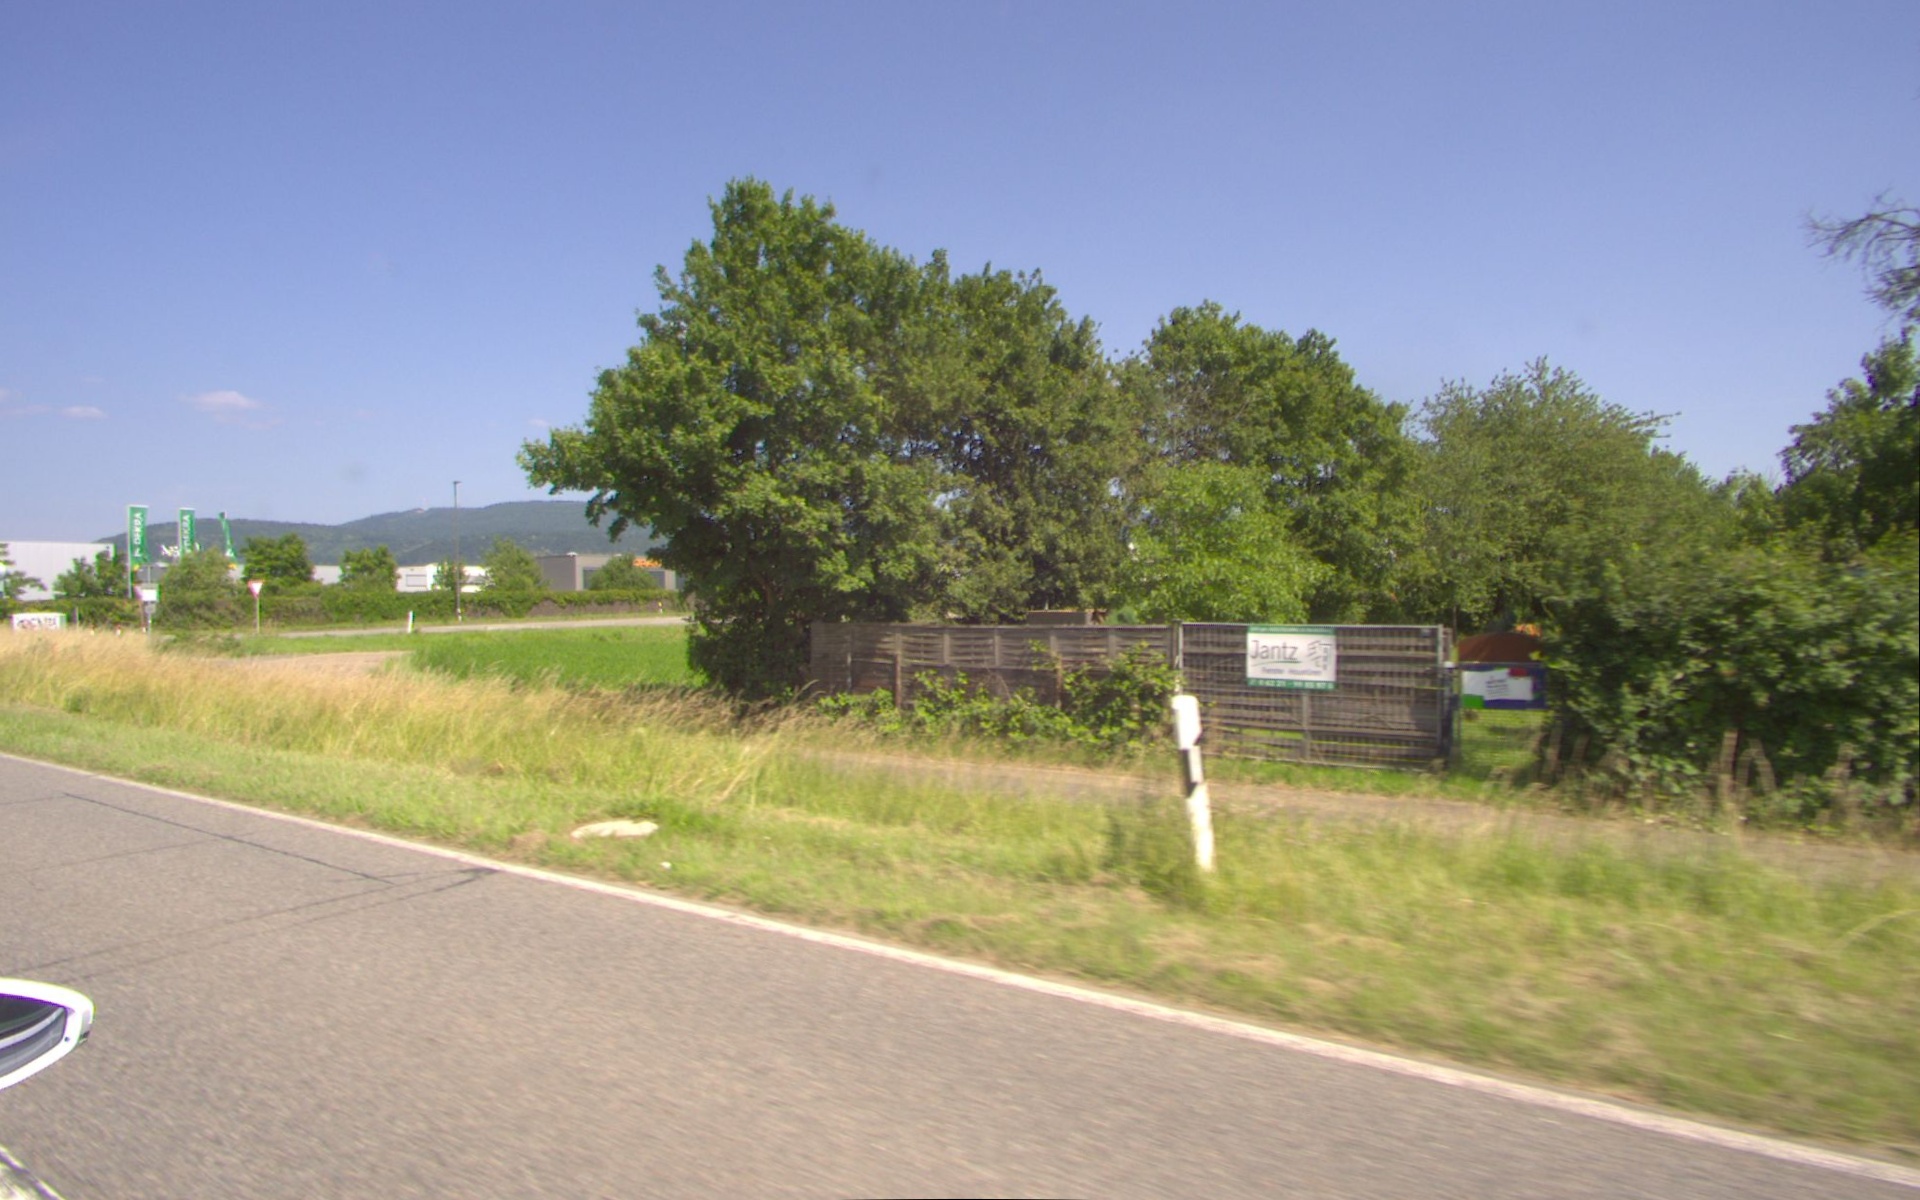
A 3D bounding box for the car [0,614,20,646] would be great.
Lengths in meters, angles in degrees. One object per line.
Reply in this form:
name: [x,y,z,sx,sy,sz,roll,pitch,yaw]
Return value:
car: [-42.801,1.282,42.544,1.784,1.344,3.970,1,0,39]
